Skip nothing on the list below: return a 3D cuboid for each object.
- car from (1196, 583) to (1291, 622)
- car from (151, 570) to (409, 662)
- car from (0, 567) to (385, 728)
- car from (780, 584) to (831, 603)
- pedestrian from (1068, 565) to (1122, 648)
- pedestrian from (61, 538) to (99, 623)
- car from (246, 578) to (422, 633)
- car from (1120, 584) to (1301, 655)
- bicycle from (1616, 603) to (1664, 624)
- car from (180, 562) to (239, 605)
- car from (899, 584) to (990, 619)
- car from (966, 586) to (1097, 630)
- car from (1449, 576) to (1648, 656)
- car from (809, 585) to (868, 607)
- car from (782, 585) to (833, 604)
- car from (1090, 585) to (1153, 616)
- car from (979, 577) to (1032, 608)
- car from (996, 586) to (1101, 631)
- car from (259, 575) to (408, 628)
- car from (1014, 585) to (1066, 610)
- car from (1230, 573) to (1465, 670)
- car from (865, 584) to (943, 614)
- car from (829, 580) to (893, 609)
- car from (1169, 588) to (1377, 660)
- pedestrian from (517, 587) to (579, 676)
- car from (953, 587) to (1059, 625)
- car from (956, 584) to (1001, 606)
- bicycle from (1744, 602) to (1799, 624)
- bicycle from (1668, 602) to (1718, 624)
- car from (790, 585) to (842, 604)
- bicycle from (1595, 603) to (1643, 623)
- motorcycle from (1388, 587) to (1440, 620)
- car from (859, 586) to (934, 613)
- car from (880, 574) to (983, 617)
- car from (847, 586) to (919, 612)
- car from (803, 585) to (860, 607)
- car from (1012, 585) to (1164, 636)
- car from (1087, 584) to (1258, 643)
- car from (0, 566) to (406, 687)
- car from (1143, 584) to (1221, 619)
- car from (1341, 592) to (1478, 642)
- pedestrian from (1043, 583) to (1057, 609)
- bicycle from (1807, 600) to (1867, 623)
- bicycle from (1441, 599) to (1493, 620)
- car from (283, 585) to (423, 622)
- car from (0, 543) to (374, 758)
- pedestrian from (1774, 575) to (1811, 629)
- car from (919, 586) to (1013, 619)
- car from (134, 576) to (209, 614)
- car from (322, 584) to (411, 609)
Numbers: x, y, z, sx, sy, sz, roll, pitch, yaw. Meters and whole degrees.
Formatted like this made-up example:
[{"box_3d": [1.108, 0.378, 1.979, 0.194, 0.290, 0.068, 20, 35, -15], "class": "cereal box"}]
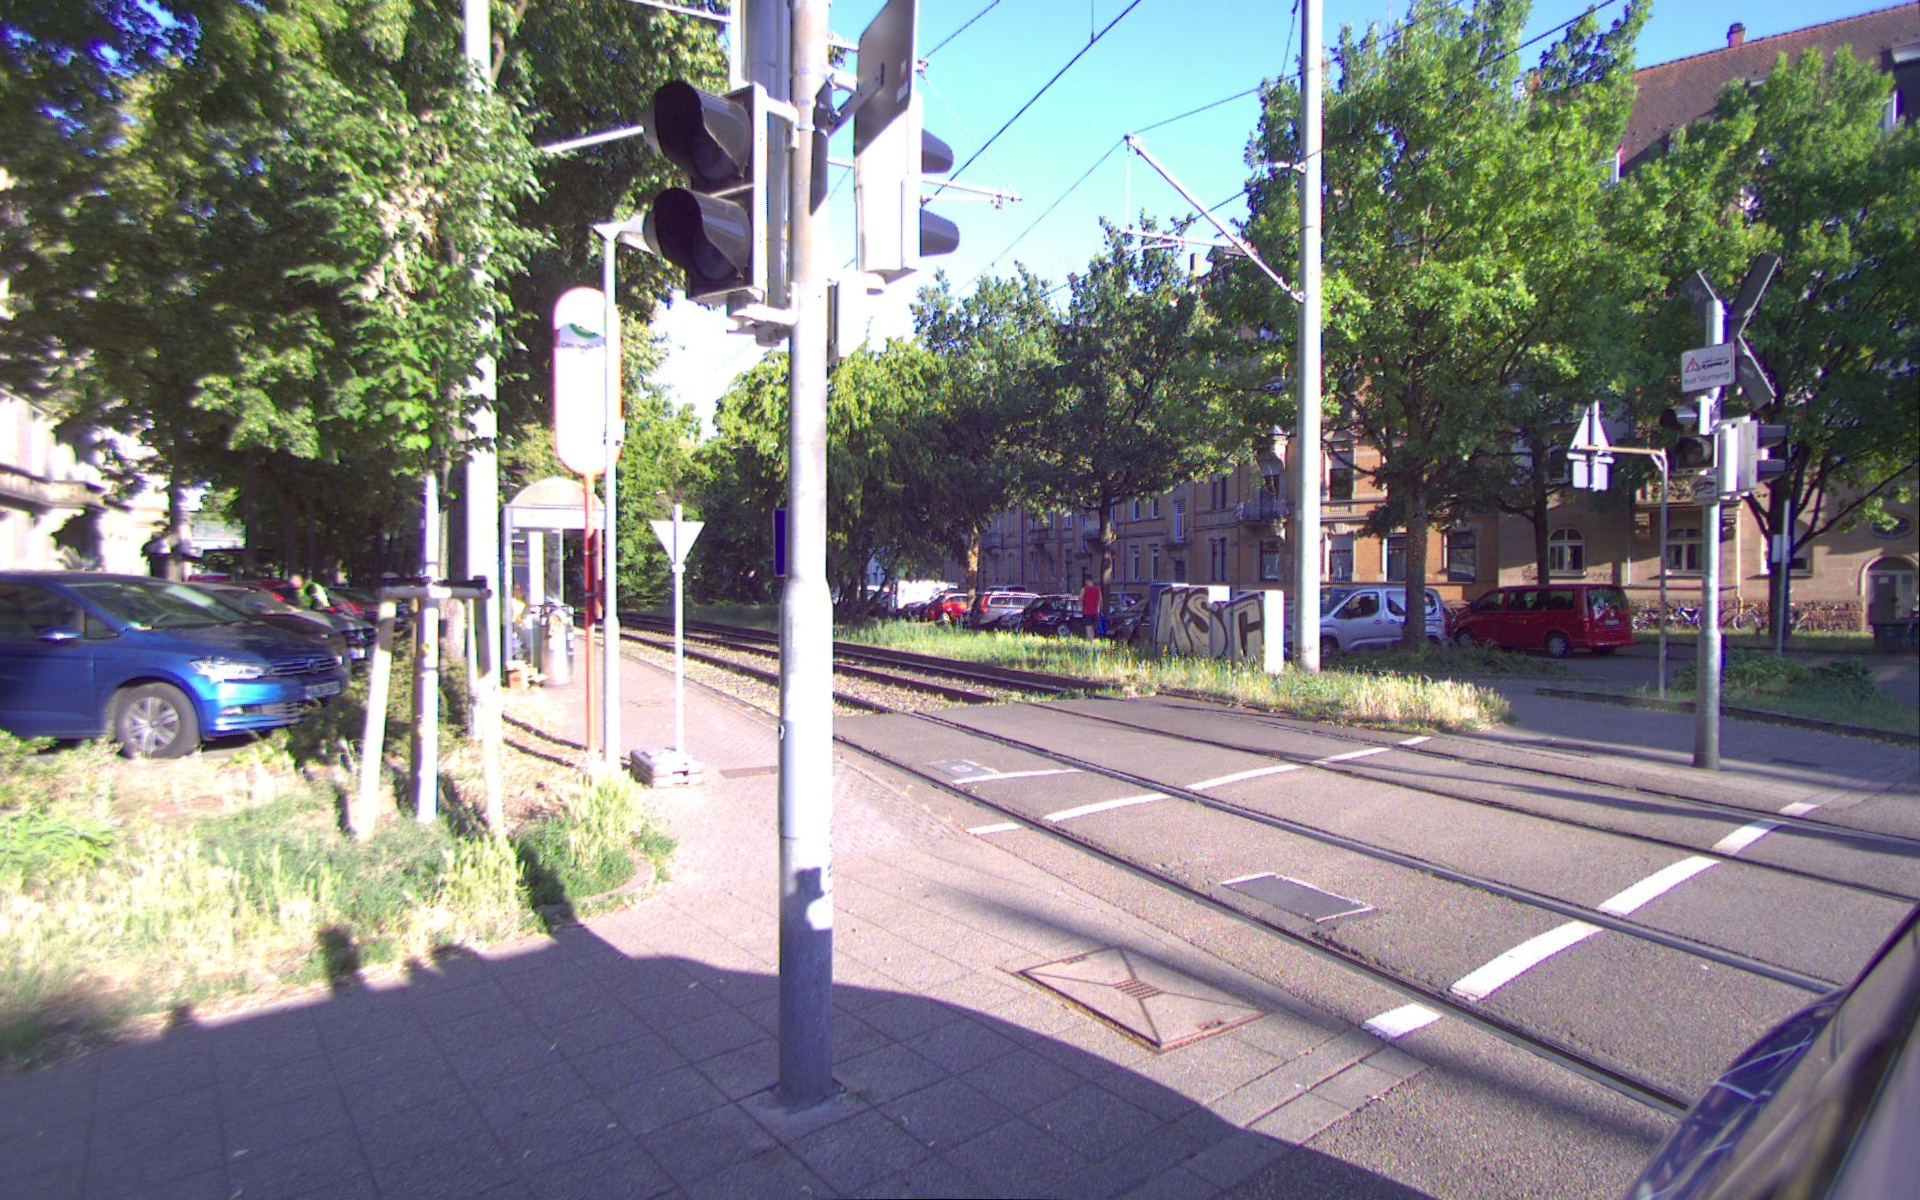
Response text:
[{"box_3d": [11.705, 0.065, 42.104, 1.745, 1.493, 4.280, -2, 1, -16], "class": "car"}, {"box_3d": [-14.147, 0.281, 21.148, 4.483, 1.743, 1.922, 1, 0, 13], "class": "car"}, {"box_3d": [-9.449, 0.475, 11.766, 4.469, 1.655, 1.928, 1, 0, 3], "class": "car"}, {"box_3d": [-13.143, -0.535, 86.235, 4.046, 1.541, 1.688, 1, 0, -18], "class": "car"}, {"box_3d": [3.249, 0.149, 24.412, 0.886, 1.942, 1.152, 0, 1, -18], "class": "pedestrian"}, {"box_3d": [-31.497, -0.700, 36.232, 0.902, 2.984, 0.701, 0, 0, -31], "class": "pedestrian"}, {"box_3d": [-18.458, 0.154, 29.932, 4.208, 1.506, 1.806, 1, 0, 6], "class": "car"}, {"box_3d": [6.608, 0.446, 26.714, 4.357, 1.712, 1.954, 0, 2, -24], "class": "car"}, {"box_3d": [25.443, 0.506, 37.882, 1.501, 0.741, 0.364, 1, 1, 36], "class": "bicycle"}, {"box_3d": [-40.460, -0.878, 54.652, 1.960, 2.200, 4.618, 1, 1, -30], "class": "car"}, {"box_3d": [-0.738, 0.051, 48.129, 3.916, 1.600, 1.769, 1, 0, -20], "class": "car"}, {"box_3d": [2.717, 0.288, 38.803, 4.616, 1.592, 2.005, 0, 2, -16], "class": "car"}, {"box_3d": [16.150, 0.371, 28.112, 1.745, 1.957, 4.783, -2, 1, -19], "class": "car"}, {"box_3d": [-8.642, -0.257, 71.903, 3.915, 1.507, 1.688, 1, 0, -18], "class": "car"}, {"box_3d": [-12.658, -0.470, 83.780, 3.915, 1.507, 1.688, 1, 0, -18], "class": "car"}, {"box_3d": [8.292, 0.007, 52.219, 1.654, 1.493, 3.717, -2, 1, -18], "class": "car"}, {"box_3d": [2.970, -0.539, 67.287, 1.873, 1.906, 4.735, -2, 1, -19], "class": "car"}, {"box_3d": [3.123, 0.290, 36.071, 3.338, 1.533, 1.722, 0, 0, -16], "class": "car"}, {"box_3d": [-21.761, 0.027, 35.226, 4.208, 1.716, 1.806, 1, 0, 6], "class": "car"}, {"box_3d": [4.879, -0.190, 61.974, 1.732, 1.456, 3.896, -2, 1, -19], "class": "car"}, {"box_3d": [8.381, 0.412, 21.999, 4.457, 1.938, 1.955, 0, 2, -16], "class": "car"}, {"box_3d": [-3.046, -0.066, 54.790, 3.915, 1.573, 1.688, 1, 0, -18], "class": "car"}, {"box_3d": [-6.544, -0.364, 66.688, 3.915, 1.855, 1.688, 1, 0, -18], "class": "car"}, {"box_3d": [7.556, 0.539, 24.536, 4.457, 1.592, 1.955, 0, 2, -16], "class": "car"}, {"box_3d": [-6.259, 0.452, 15.361, 0.808, 1.288, 0.878, 0, 1, -26], "class": "pedestrian"}, {"box_3d": [1.864, 0.249, 41.226, 3.915, 1.479, 1.688, 1, 0, -18], "class": "car"}, {"box_3d": [1.270, -0.410, 72.788, 1.843, 1.459, 4.402, -2, 1, -19], "class": "car"}, {"box_3d": [28.893, 0.470, 36.045, 1.501, 0.741, 0.364, 1, 1, 36], "class": "bicycle"}, {"box_3d": [26.953, 0.469, 37.228, 1.501, 0.741, 0.364, 1, 1, 36], "class": "bicycle"}, {"box_3d": [-11.629, -0.429, 81.523, 3.915, 1.507, 1.688, 1, 0, -18], "class": "car"}, {"box_3d": [25.124, 0.493, 38.597, 1.501, 0.741, 0.364, 1, 1, 36], "class": "bicycle"}, {"box_3d": [19.304, 0.147, 43.048, 1.887, 1.370, 0.799, 0, 0, 37], "class": "motorcycle"}, {"box_3d": [-3.623, -0.034, 57.230, 3.915, 1.507, 1.688, 1, 0, -18], "class": "car"}, {"box_3d": [-1.445, -0.220, 50.805, 4.758, 2.064, 2.160, 1, 0, -18], "class": "car"}, {"box_3d": [-4.561, -0.065, 59.688, 3.915, 1.507, 1.688, 1, 0, -18], "class": "car"}, {"box_3d": [-9.447, -0.305, 74.251, 3.915, 1.507, 1.688, 1, 0, -18], "class": "car"}, {"box_3d": [4.245, 0.316, 33.738, 4.616, 1.592, 2.005, 0, 2, -16], "class": "car"}, {"box_3d": [6.134, 0.352, 29.338, 4.457, 1.592, 1.955, 0, 2, -16], "class": "car"}, {"box_3d": [-10.524, 0.325, 14.206, 4.469, 1.506, 1.928, 1, 0, 3], "class": "car"}, {"box_3d": [10.199, 0.042, 46.755, 1.654, 1.493, 3.890, -2, 1, -20], "class": "car"}, {"box_3d": [14.720, 0.510, 33.435, 1.745, 1.451, 4.280, -2, 1, -16], "class": "car"}, {"box_3d": [6.067, -0.265, 68.243, 0.661, 1.739, 0.724, -2, 1, -17], "class": "pedestrian"}, {"box_3d": [30.233, 0.401, 34.899, 1.501, 0.741, 0.364, -1, 0, 36], "class": "bicycle"}, {"box_3d": [21.019, 0.382, 41.985, 1.887, 0.858, 0.519, 0, 0, 37], "class": "bicycle"}, {"box_3d": [-22.582, 0.118, 37.765, 4.204, 1.295, 1.808, 1, 0, 4], "class": "car"}, {"box_3d": [-7.940, 0.419, 9.097, 4.336, 1.708, 1.742, -1, 1, 1], "class": "car"}, {"box_3d": [27.404, 0.050, 33.323, 0.907, 1.739, 0.666, 0, 2, 38], "class": "pedestrian"}, {"box_3d": [0.263, 0.093, 46.029, 3.915, 1.441, 1.688, 1, 0, -18], "class": "car"}, {"box_3d": [-34.629, -0.243, 44.579, 1.960, 1.587, 4.618, 1, 1, -30], "class": "car"}, {"box_3d": [-32.621, -0.215, 55.709, 3.926, 1.295, 1.747, 1, 0, 3], "class": "car"}]
